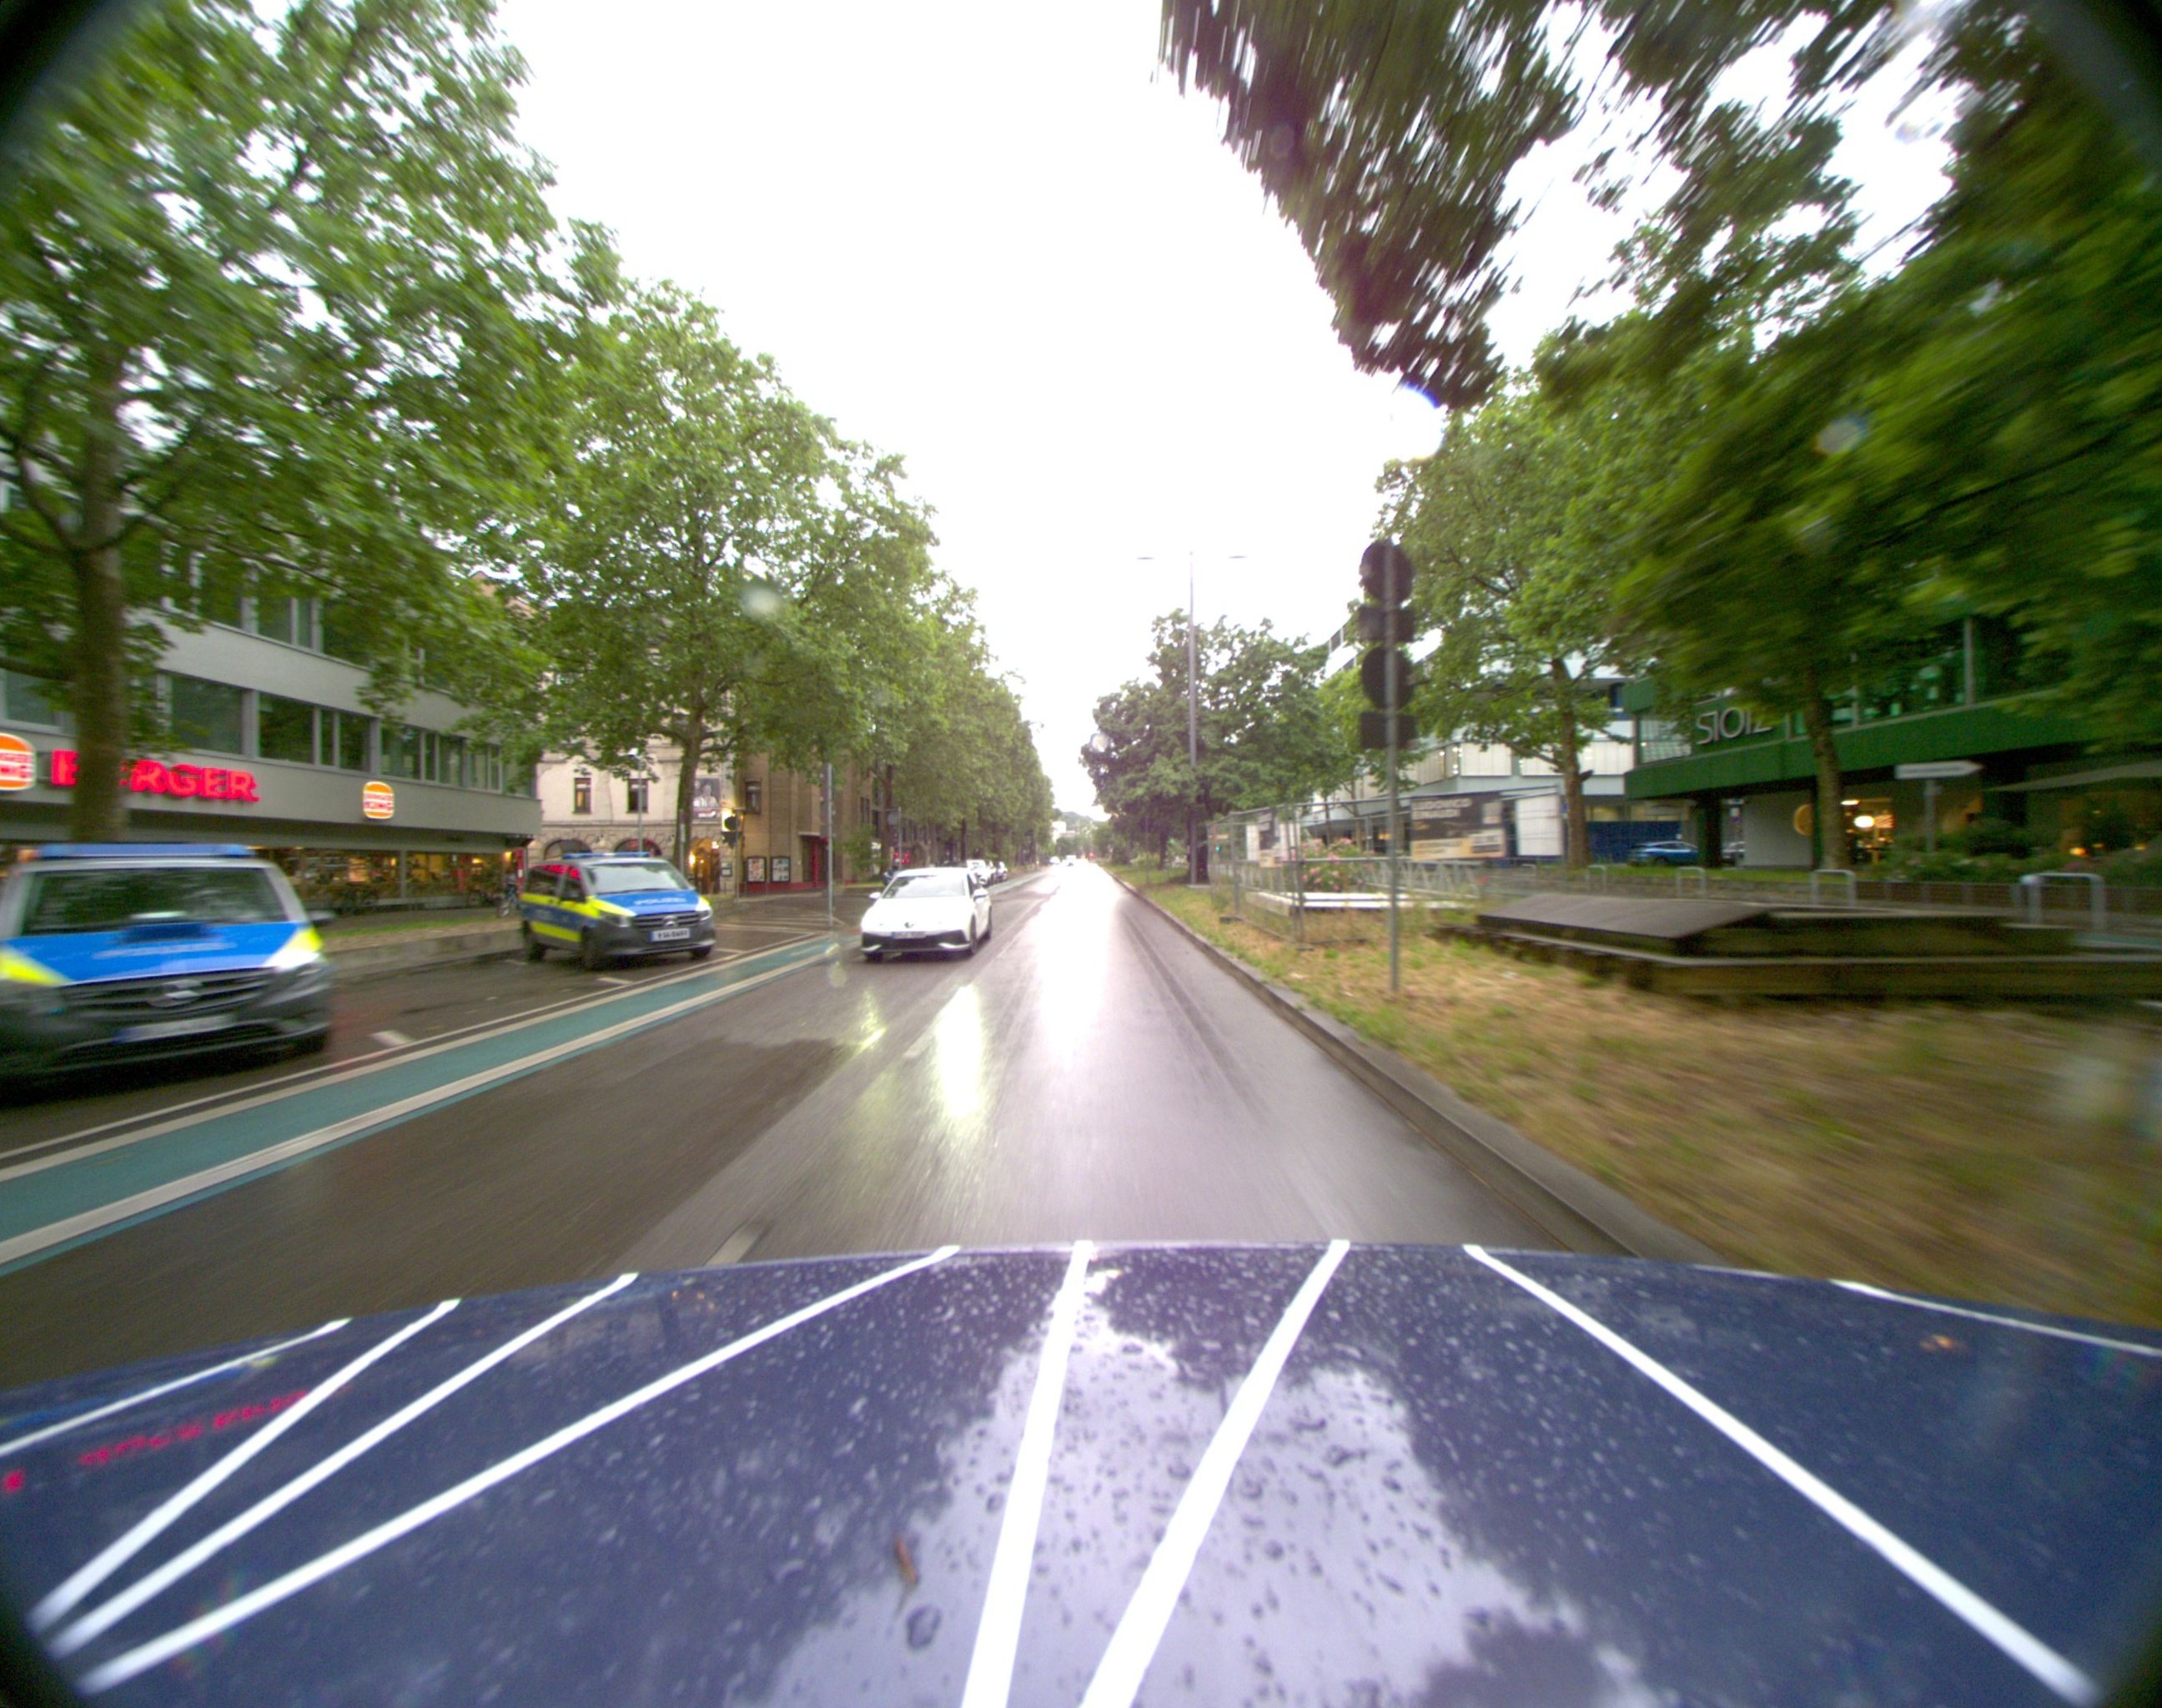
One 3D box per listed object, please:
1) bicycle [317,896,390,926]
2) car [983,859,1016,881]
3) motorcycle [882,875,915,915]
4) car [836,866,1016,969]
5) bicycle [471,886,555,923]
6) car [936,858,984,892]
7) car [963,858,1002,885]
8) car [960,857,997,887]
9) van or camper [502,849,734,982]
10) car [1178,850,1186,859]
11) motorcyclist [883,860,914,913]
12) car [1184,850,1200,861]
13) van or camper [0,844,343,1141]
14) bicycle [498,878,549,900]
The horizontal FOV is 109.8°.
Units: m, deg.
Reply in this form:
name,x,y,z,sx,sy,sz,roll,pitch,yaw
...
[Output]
name,x,y,z,sx,sy,sz,roll,pitch,yaw
bicycle,-23.162,1.803,24.238,0.643,0.814,1.912,-1,0,-8
car,-5.871,1.095,55.107,1.747,1.424,4.586,-2,0,1
motorcycle,-5.843,1.285,24.290,0.869,1.136,2.019,-2,0,-17
car,-2.549,1.004,13.777,1.865,1.436,4.511,-2,0,6
bicycle,-17.868,1.615,23.979,0.642,0.917,1.917,33,0,11
car,-6.217,1.044,39.509,1.797,1.593,4.423,-2,0,-1
car,-6.326,1.065,49.273,1.999,1.580,4.559,-2,0,-1
car,-5.939,1.023,44.418,1.756,1.576,4.409,-2,0,-4
van or camper,-8.612,1.003,13.957,4.933,1.980,2.006,-2,1,39
car,16.872,0.135,127.108,1.163,1.454,3.561,-1,0,3
motorcyclist,-5.825,1.026,24.229,0.850,1.635,0.870,-2,1,-17
car,15.581,0.224,106.731,1.998,1.483,4.758,1,0,5
van or camper,-9.036,1.028,7.292,5.074,2.007,2.001,-2,0,37
bicycle,-25.888,1.629,35.295,1.971,0.932,0.625,-2,0,5
